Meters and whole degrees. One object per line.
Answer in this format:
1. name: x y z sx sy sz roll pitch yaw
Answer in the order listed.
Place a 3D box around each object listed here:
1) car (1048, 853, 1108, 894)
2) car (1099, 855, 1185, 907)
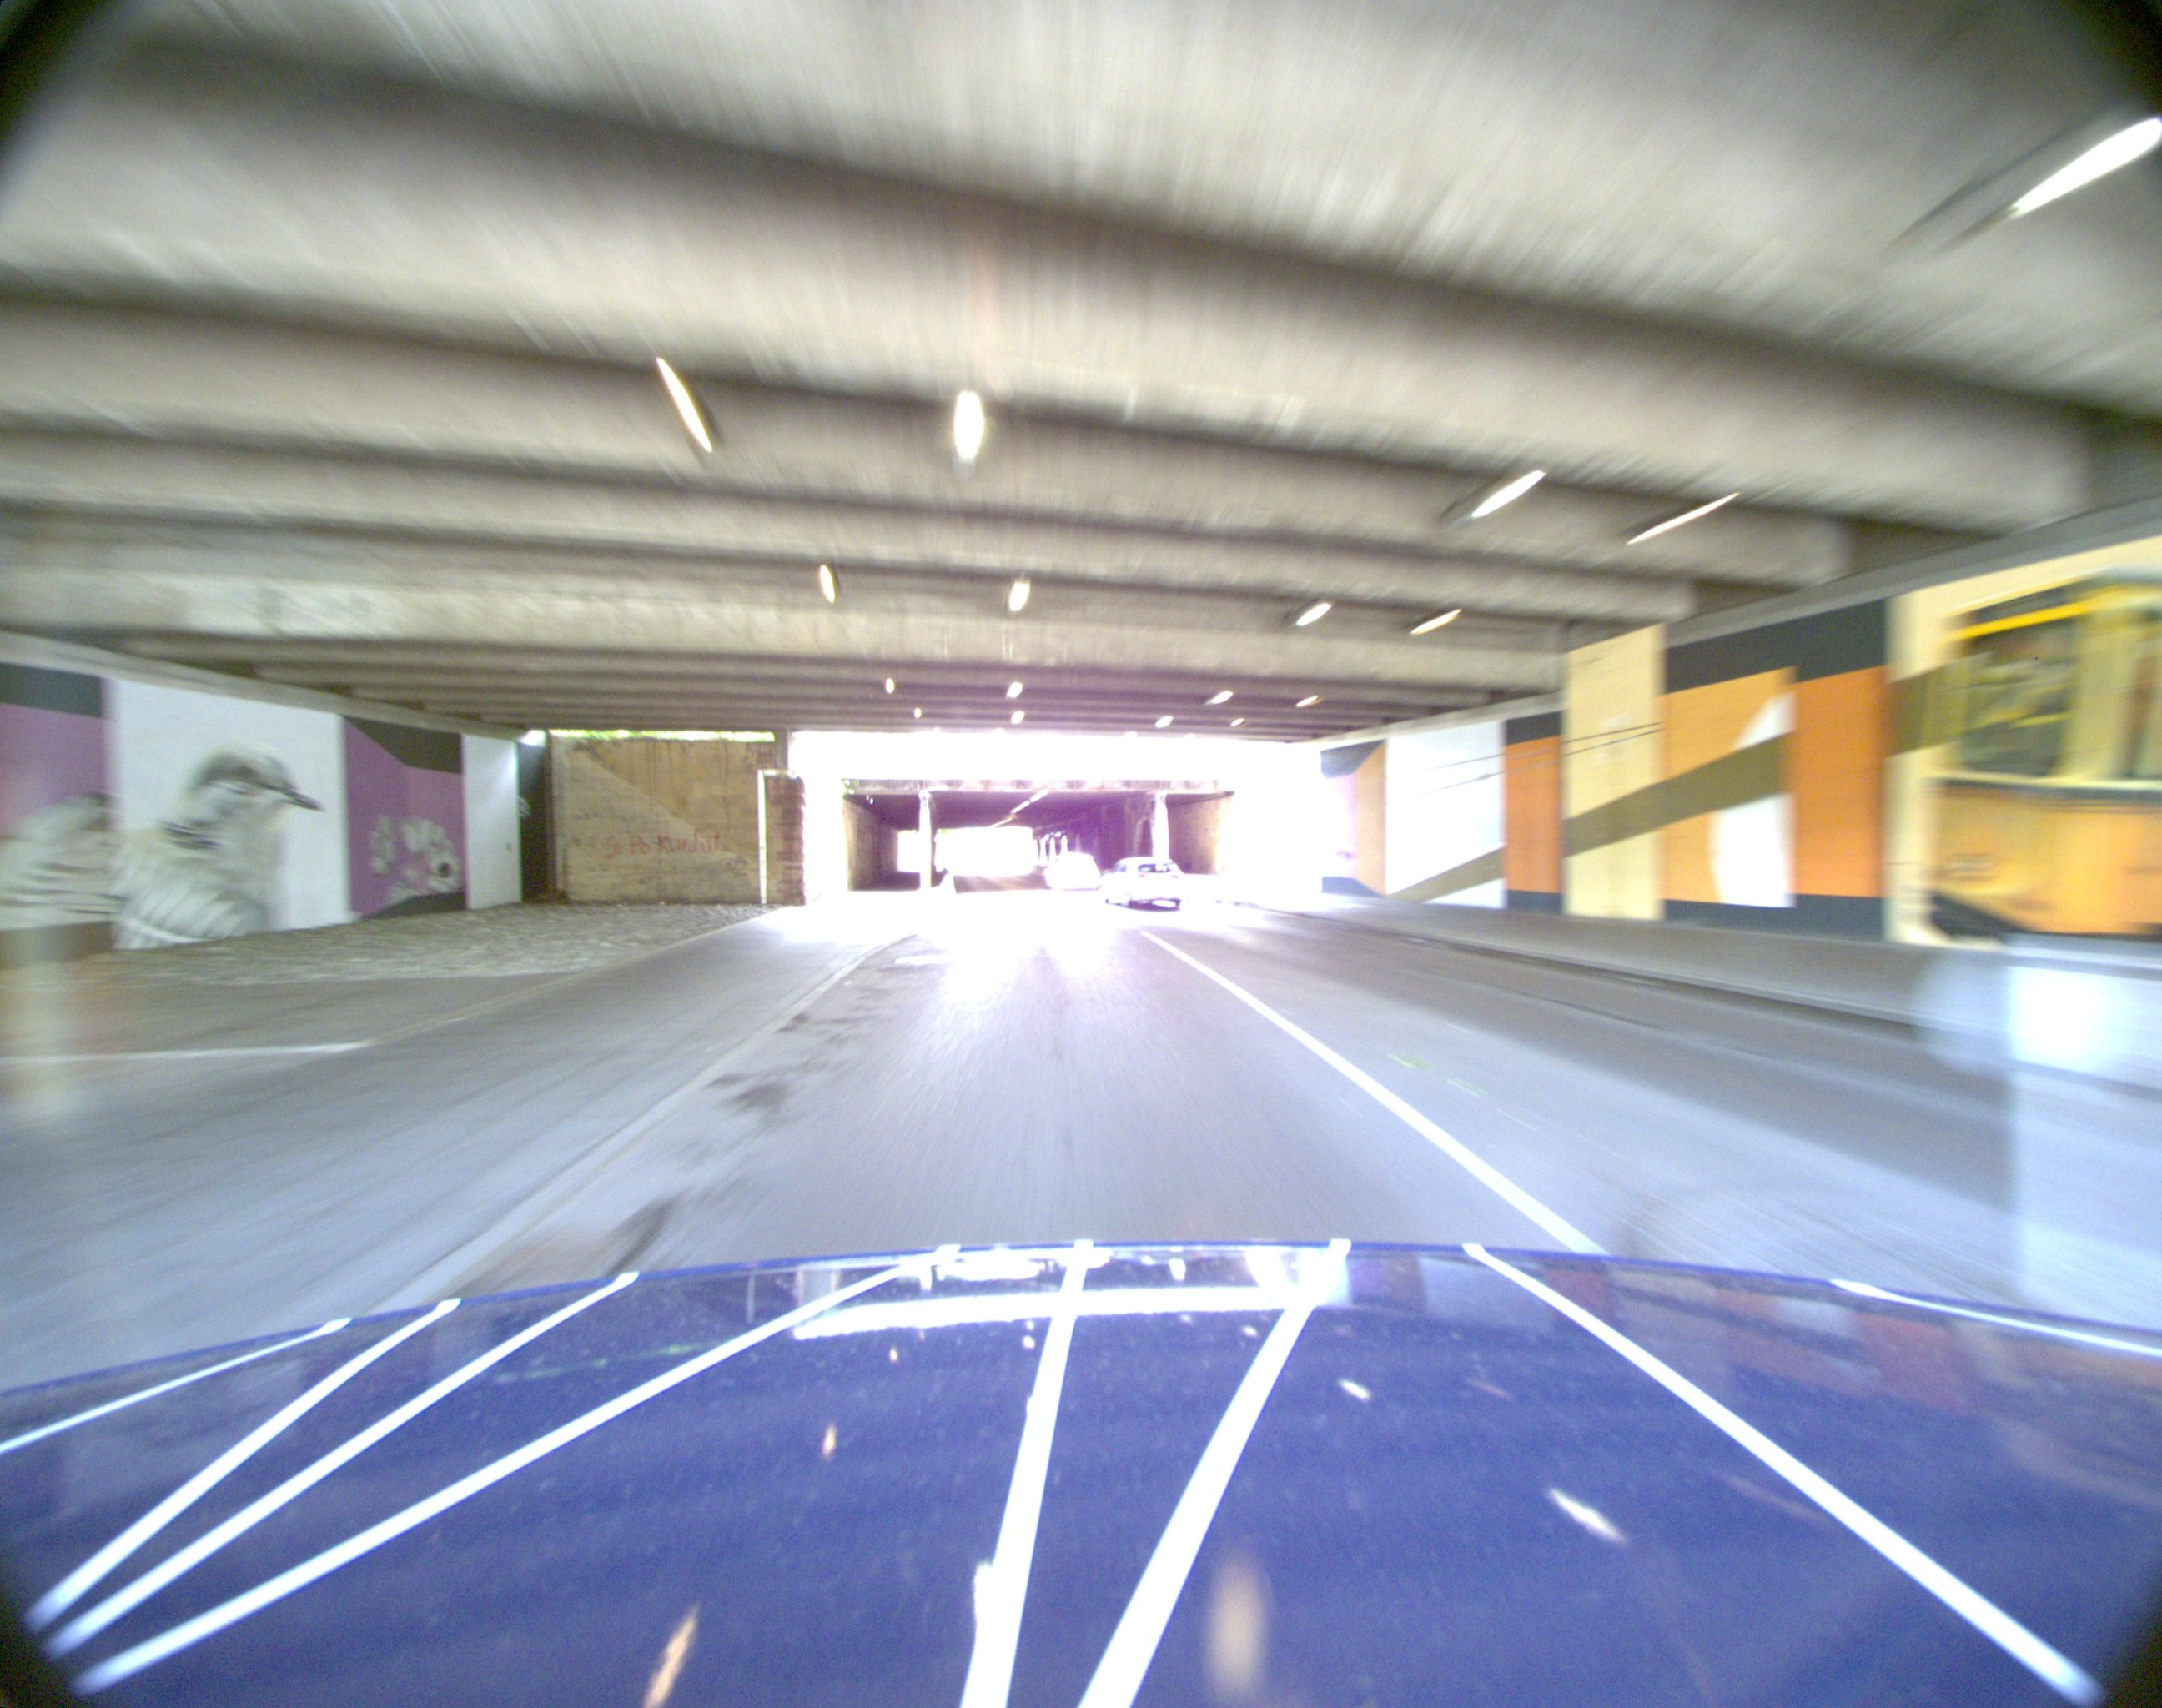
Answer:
1. car: -0.191 0.779 32.491 1.831 1.644 4.209 0 0 -10
2. car: 1.787 0.769 23.394 1.677 1.439 3.848 0 0 -11
